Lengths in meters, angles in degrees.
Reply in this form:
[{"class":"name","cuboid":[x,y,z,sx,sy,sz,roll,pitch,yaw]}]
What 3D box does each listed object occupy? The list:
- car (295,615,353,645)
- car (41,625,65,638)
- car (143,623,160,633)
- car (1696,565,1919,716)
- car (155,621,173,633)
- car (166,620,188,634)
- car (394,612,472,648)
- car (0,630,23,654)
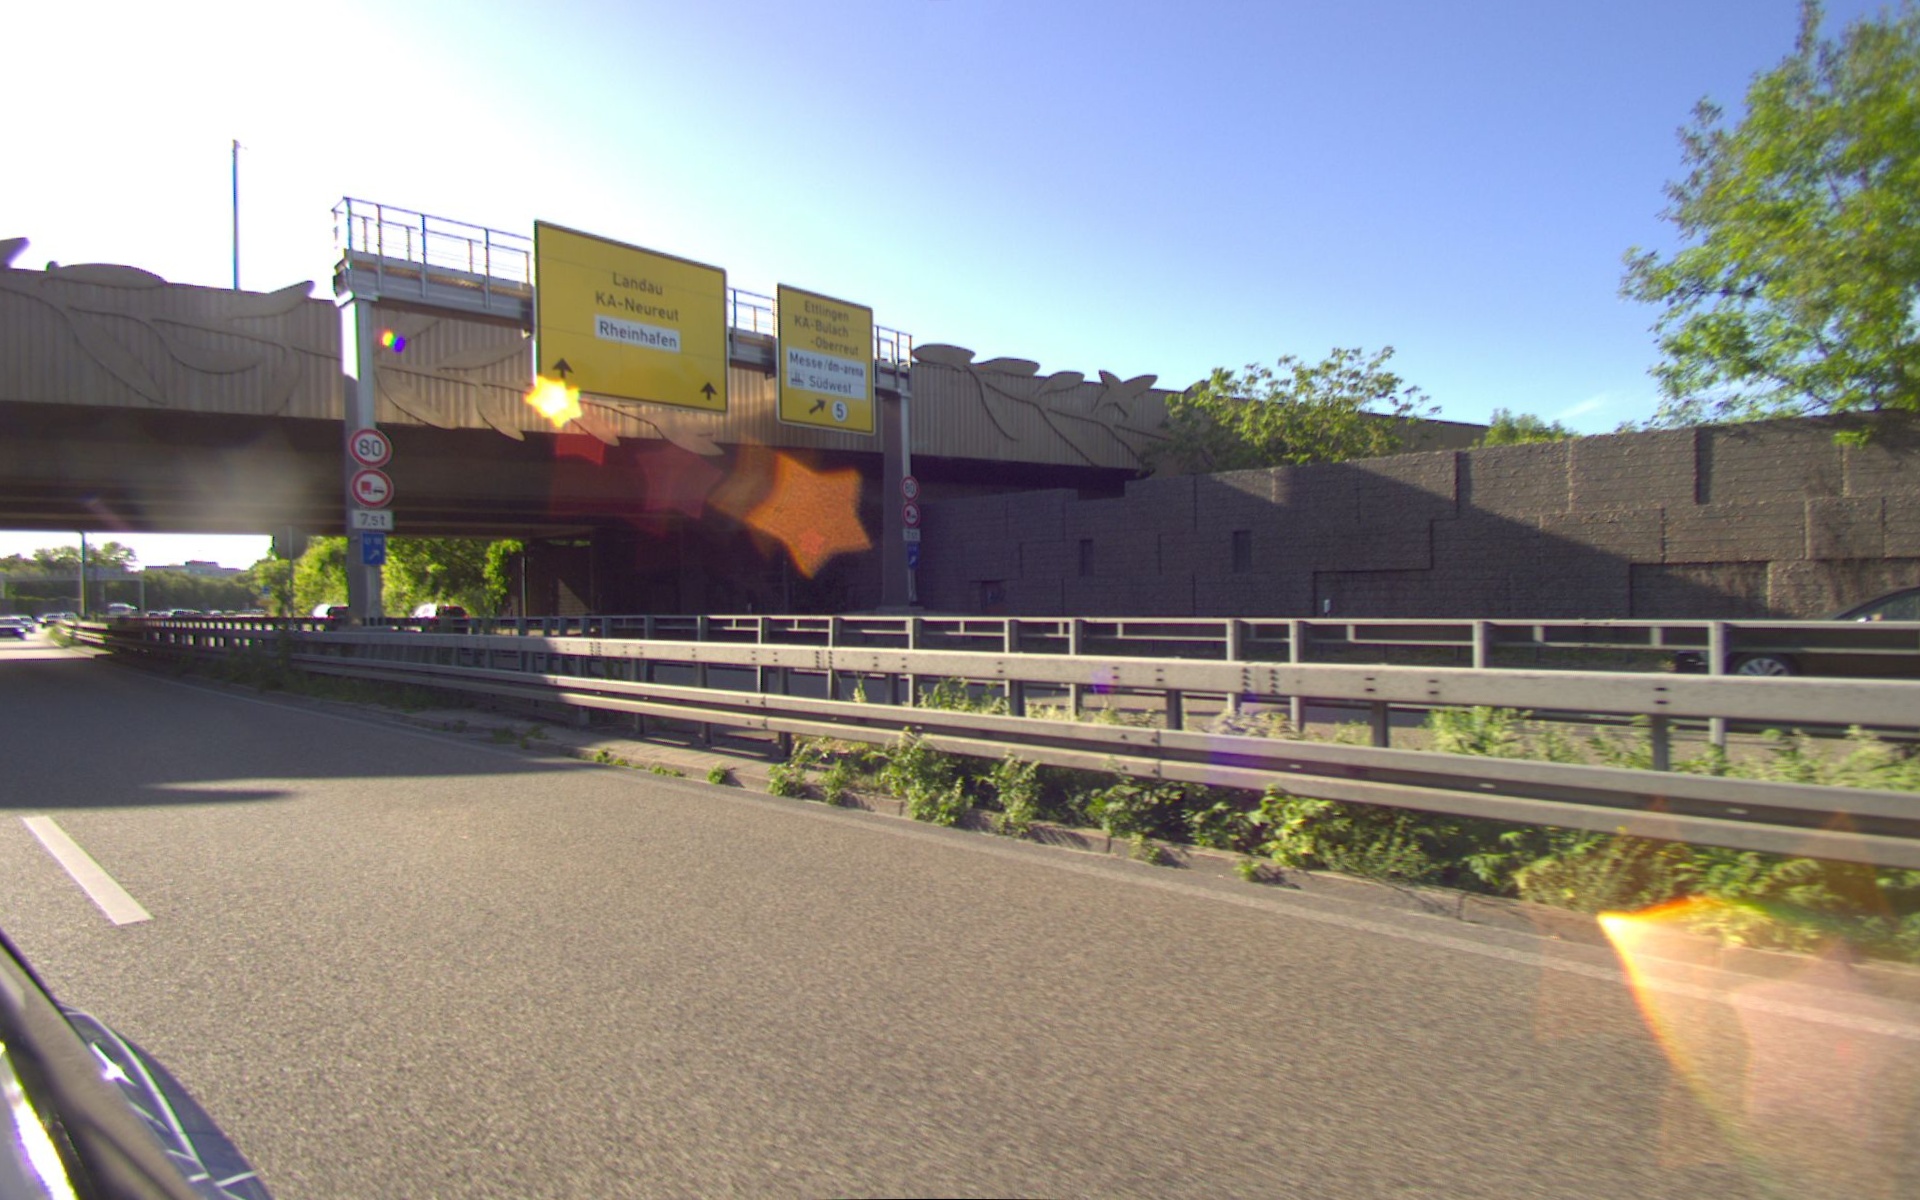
[{"class":"car","cuboid":[-38.614,1.815,61.445,4.562,1.719,1.971,-2,-2,44]},{"class":"car","cuboid":[-103.264,3.563,115.228,1.969,1.425,4.837,-2,0,-41]},{"class":"car","cuboid":[-131.767,4.539,164.885,1.969,1.653,4.728,-2,0,-40]},{"class":"car","cuboid":[11.013,0.414,11.305,4.392,1.585,1.530,-2,1,40]},{"class":"car","cuboid":[-118.521,4.005,150.649,1.969,1.653,4.728,-2,0,-40]},{"class":"car","cuboid":[-100.911,3.484,130.382,1.969,1.653,4.728,-2,0,-40]},{"class":"car","cuboid":[-25.213,1.435,48.356,4.428,1.608,1.971,-2,0,44]},{"class":"car","cuboid":[-60.314,2.644,63.643,1.970,1.425,4.835,-2,0,-44]}]
